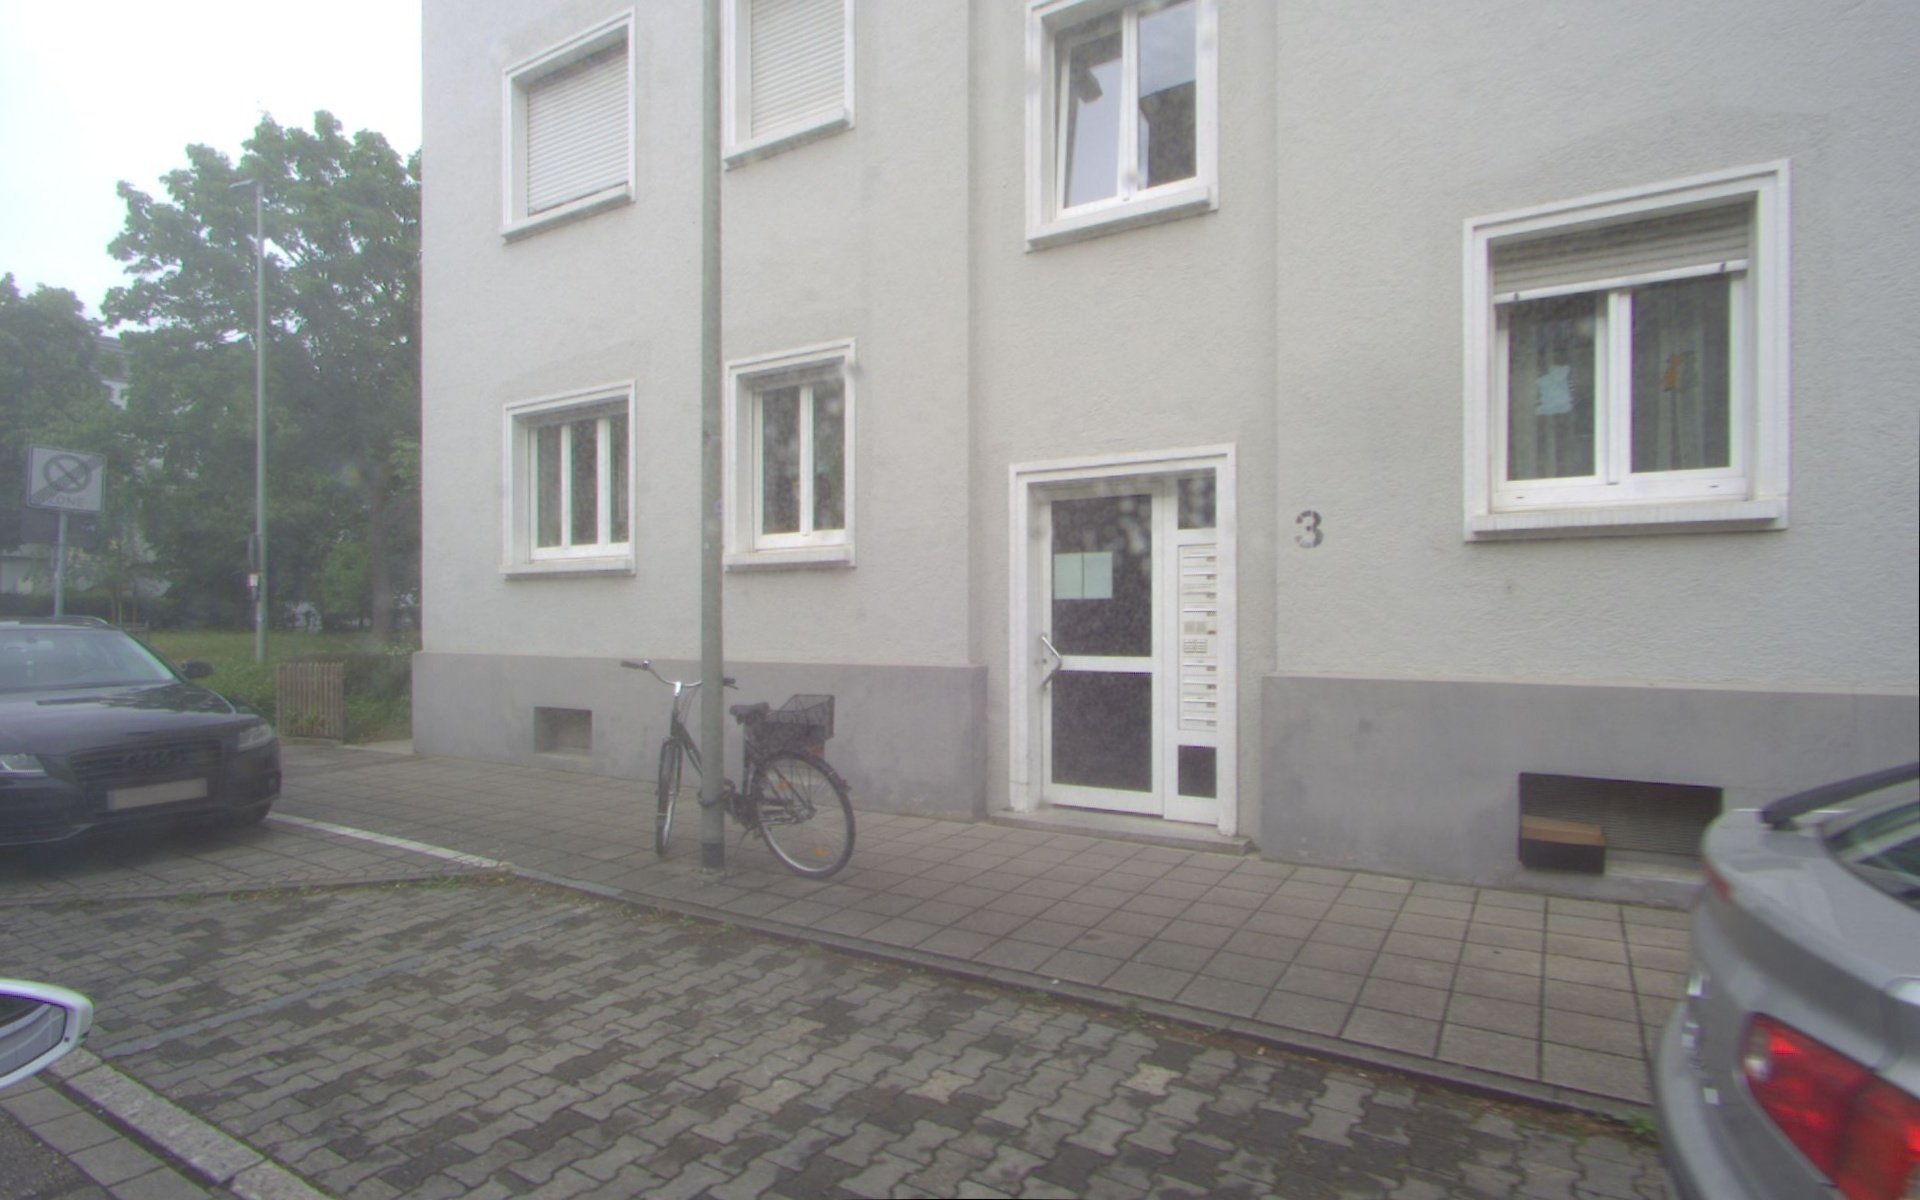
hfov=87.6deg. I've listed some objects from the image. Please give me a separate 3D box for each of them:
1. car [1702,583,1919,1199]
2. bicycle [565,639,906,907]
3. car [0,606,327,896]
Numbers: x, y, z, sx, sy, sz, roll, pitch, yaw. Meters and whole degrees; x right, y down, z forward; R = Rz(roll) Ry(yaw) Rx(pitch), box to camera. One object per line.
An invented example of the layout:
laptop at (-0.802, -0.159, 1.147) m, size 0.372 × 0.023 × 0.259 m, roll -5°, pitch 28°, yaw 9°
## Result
car at (3.186, 0.723, 0.473) m, size 4.364 × 1.482 × 1.730 m, roll 0°, pitch 0°, yaw 31°
bicycle at (-1.282, 0.858, 5.599) m, size 1.868 × 1.216 × 0.747 m, roll 0°, pitch 1°, yaw 32°
car at (-6.582, 0.789, 6.887) m, size 4.655 × 1.482 × 1.857 m, roll 0°, pitch 0°, yaw 31°
